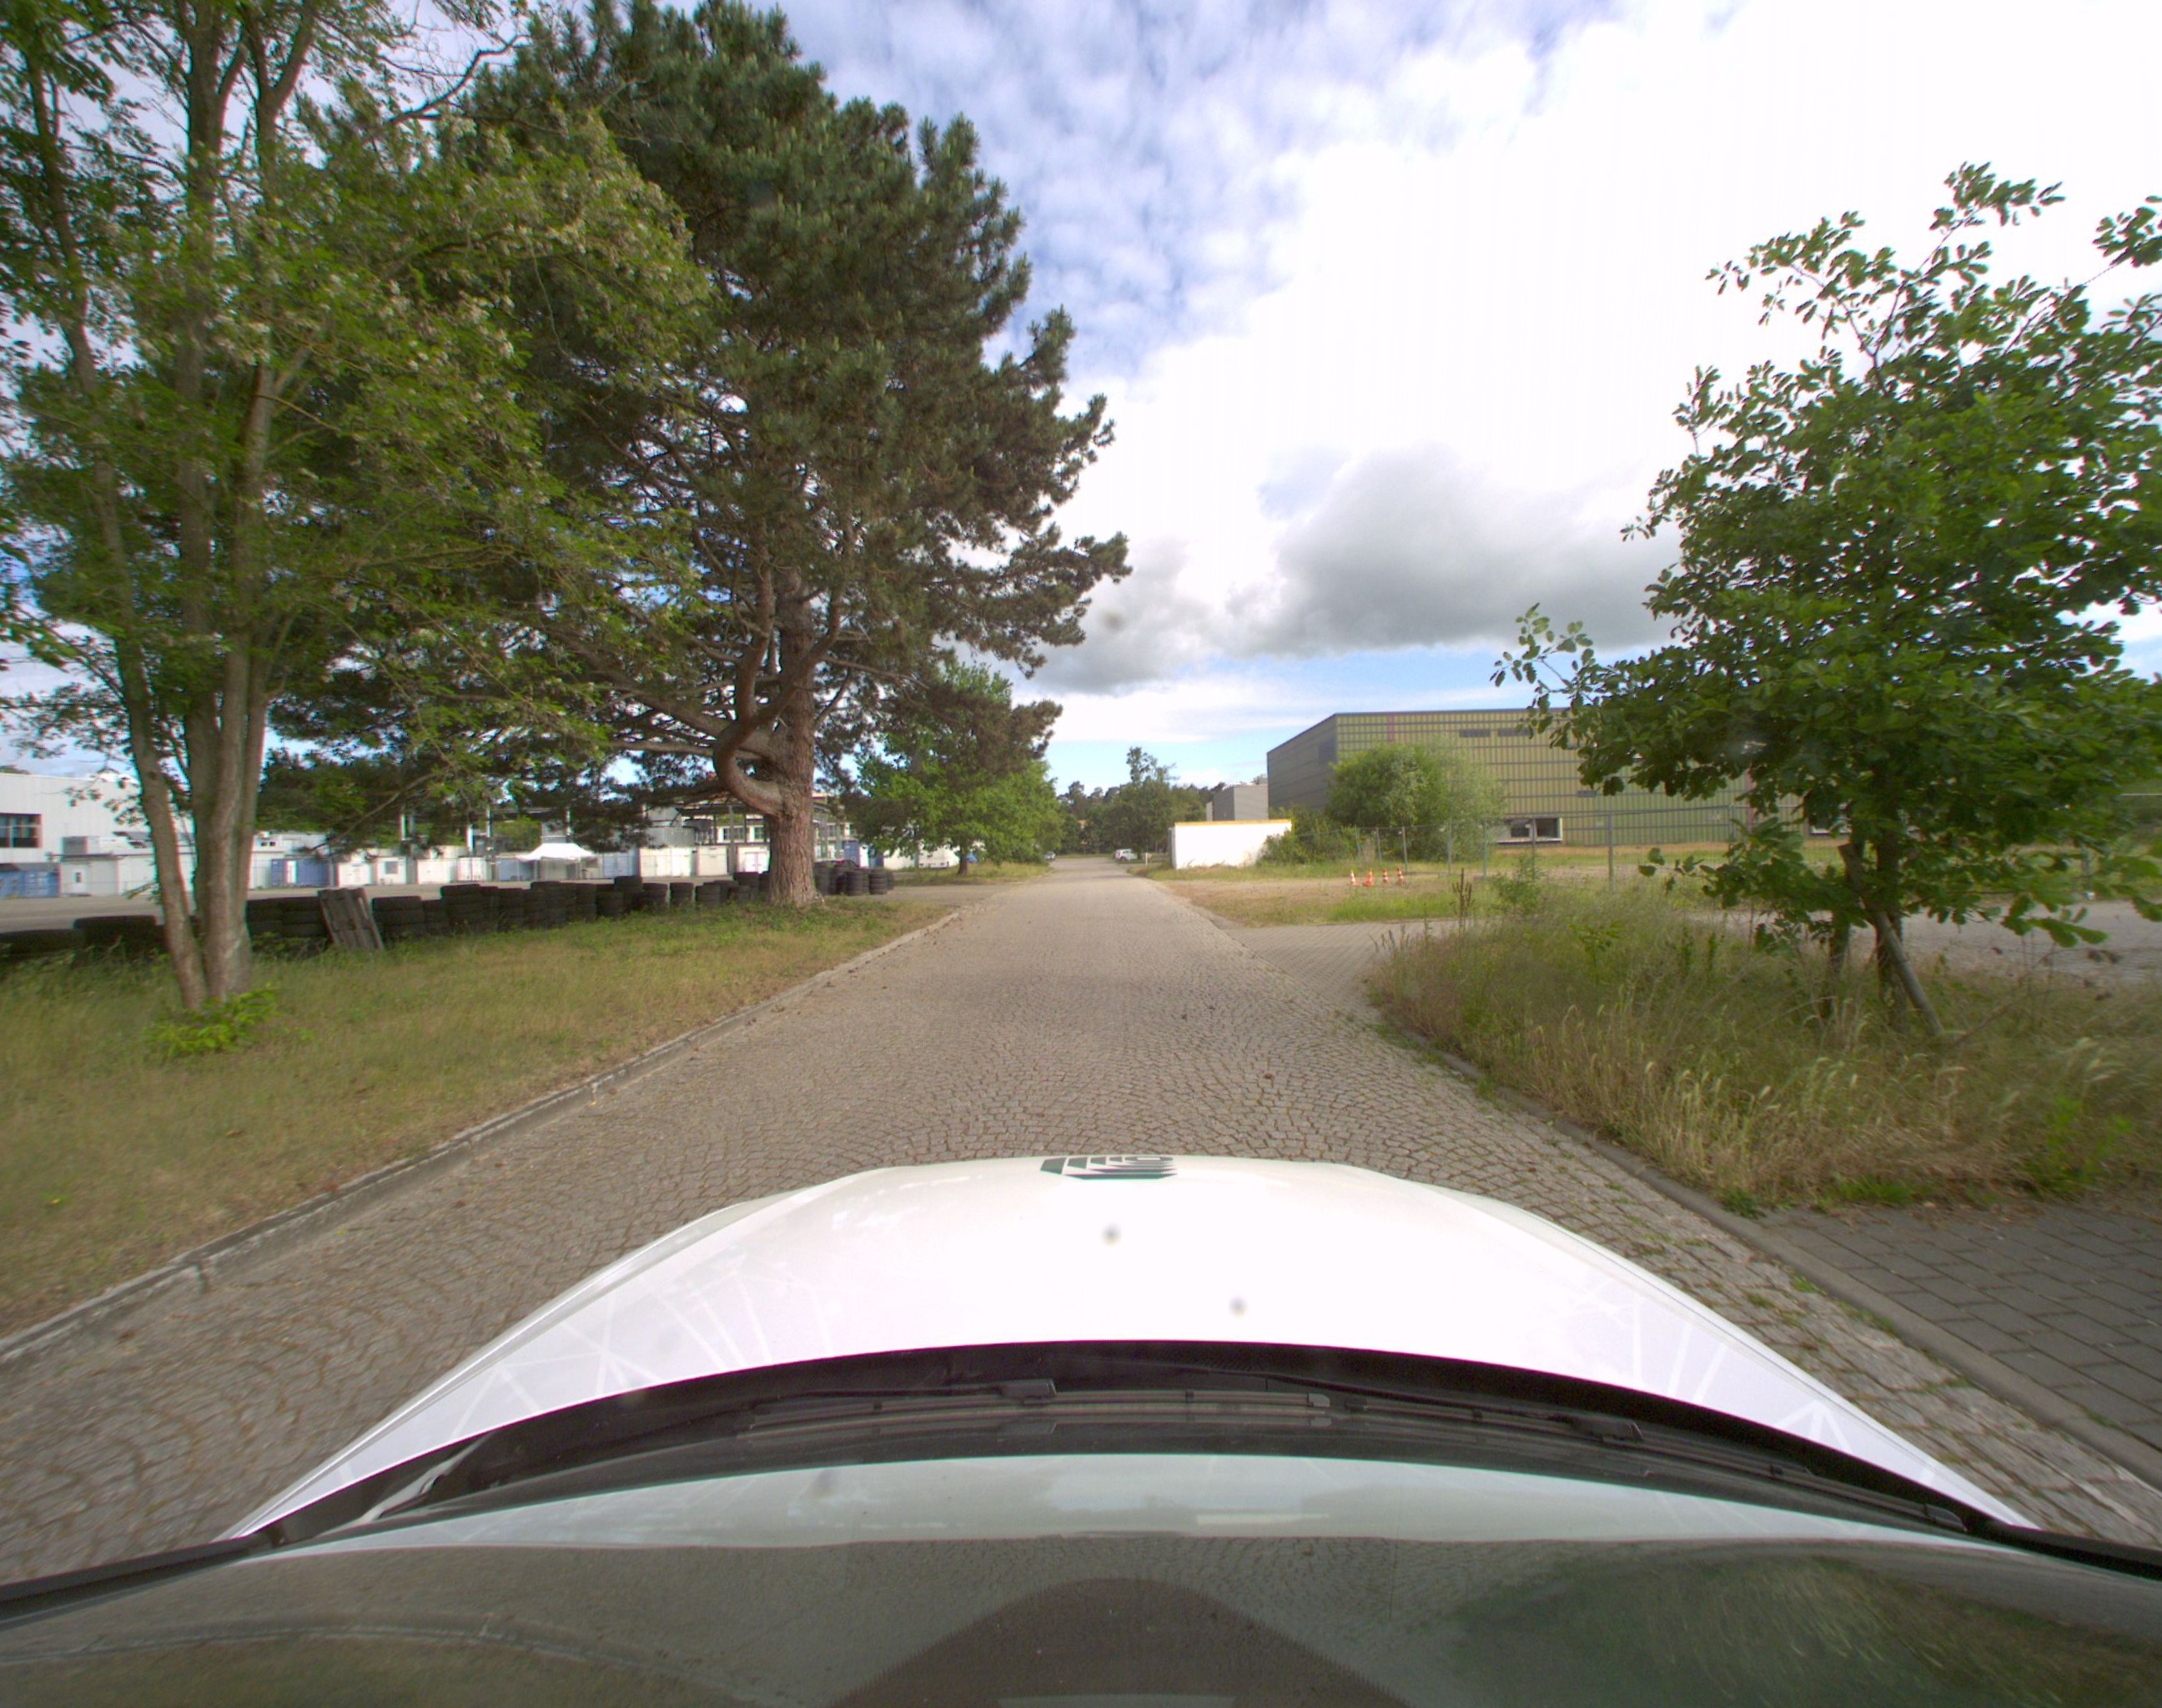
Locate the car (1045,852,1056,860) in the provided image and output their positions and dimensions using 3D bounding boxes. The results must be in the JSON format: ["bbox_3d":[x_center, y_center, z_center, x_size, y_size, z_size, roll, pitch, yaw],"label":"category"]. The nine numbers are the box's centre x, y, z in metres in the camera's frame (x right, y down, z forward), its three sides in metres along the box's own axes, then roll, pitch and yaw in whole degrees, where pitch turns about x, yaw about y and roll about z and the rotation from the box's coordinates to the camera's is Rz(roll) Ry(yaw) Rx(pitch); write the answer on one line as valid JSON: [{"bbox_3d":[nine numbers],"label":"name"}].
[{"bbox_3d":[-5.381,0.349,143.501,1.744,1.454,3.997,-2,0,-2],"label":"car"}]

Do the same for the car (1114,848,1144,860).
[{"bbox_3d":[6.501,-0.031,111.451,3.973,1.455,1.697,-2,0,0],"label":"car"}]

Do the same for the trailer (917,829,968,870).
[{"bbox_3d":[-13.804,-0.451,82.091,2.645,3.705,10.730,-2,0,3],"label":"trailer"}]

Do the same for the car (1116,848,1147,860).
[{"bbox_3d":[6.770,0.011,109.282,3.973,1.455,2.000,-1,-1,0],"label":"car"}]

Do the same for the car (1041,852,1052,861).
[{"bbox_3d":[-5.629,0.429,133.269,1.744,1.364,3.997,-2,0,-2],"label":"car"}]

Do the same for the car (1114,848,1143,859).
[{"bbox_3d":[6.597,-0.060,114.491,3.973,1.455,1.770,-2,0,0],"label":"car"}]

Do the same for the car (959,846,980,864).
[{"bbox_3d":[-16.650,0.090,121.692,1.985,2.523,5.624,-2,0,4],"label":"car"}]

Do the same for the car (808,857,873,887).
[{"bbox_3d":[-12.826,0.917,43.725,1.814,1.431,4.227,-2,0,7],"label":"car"}]
